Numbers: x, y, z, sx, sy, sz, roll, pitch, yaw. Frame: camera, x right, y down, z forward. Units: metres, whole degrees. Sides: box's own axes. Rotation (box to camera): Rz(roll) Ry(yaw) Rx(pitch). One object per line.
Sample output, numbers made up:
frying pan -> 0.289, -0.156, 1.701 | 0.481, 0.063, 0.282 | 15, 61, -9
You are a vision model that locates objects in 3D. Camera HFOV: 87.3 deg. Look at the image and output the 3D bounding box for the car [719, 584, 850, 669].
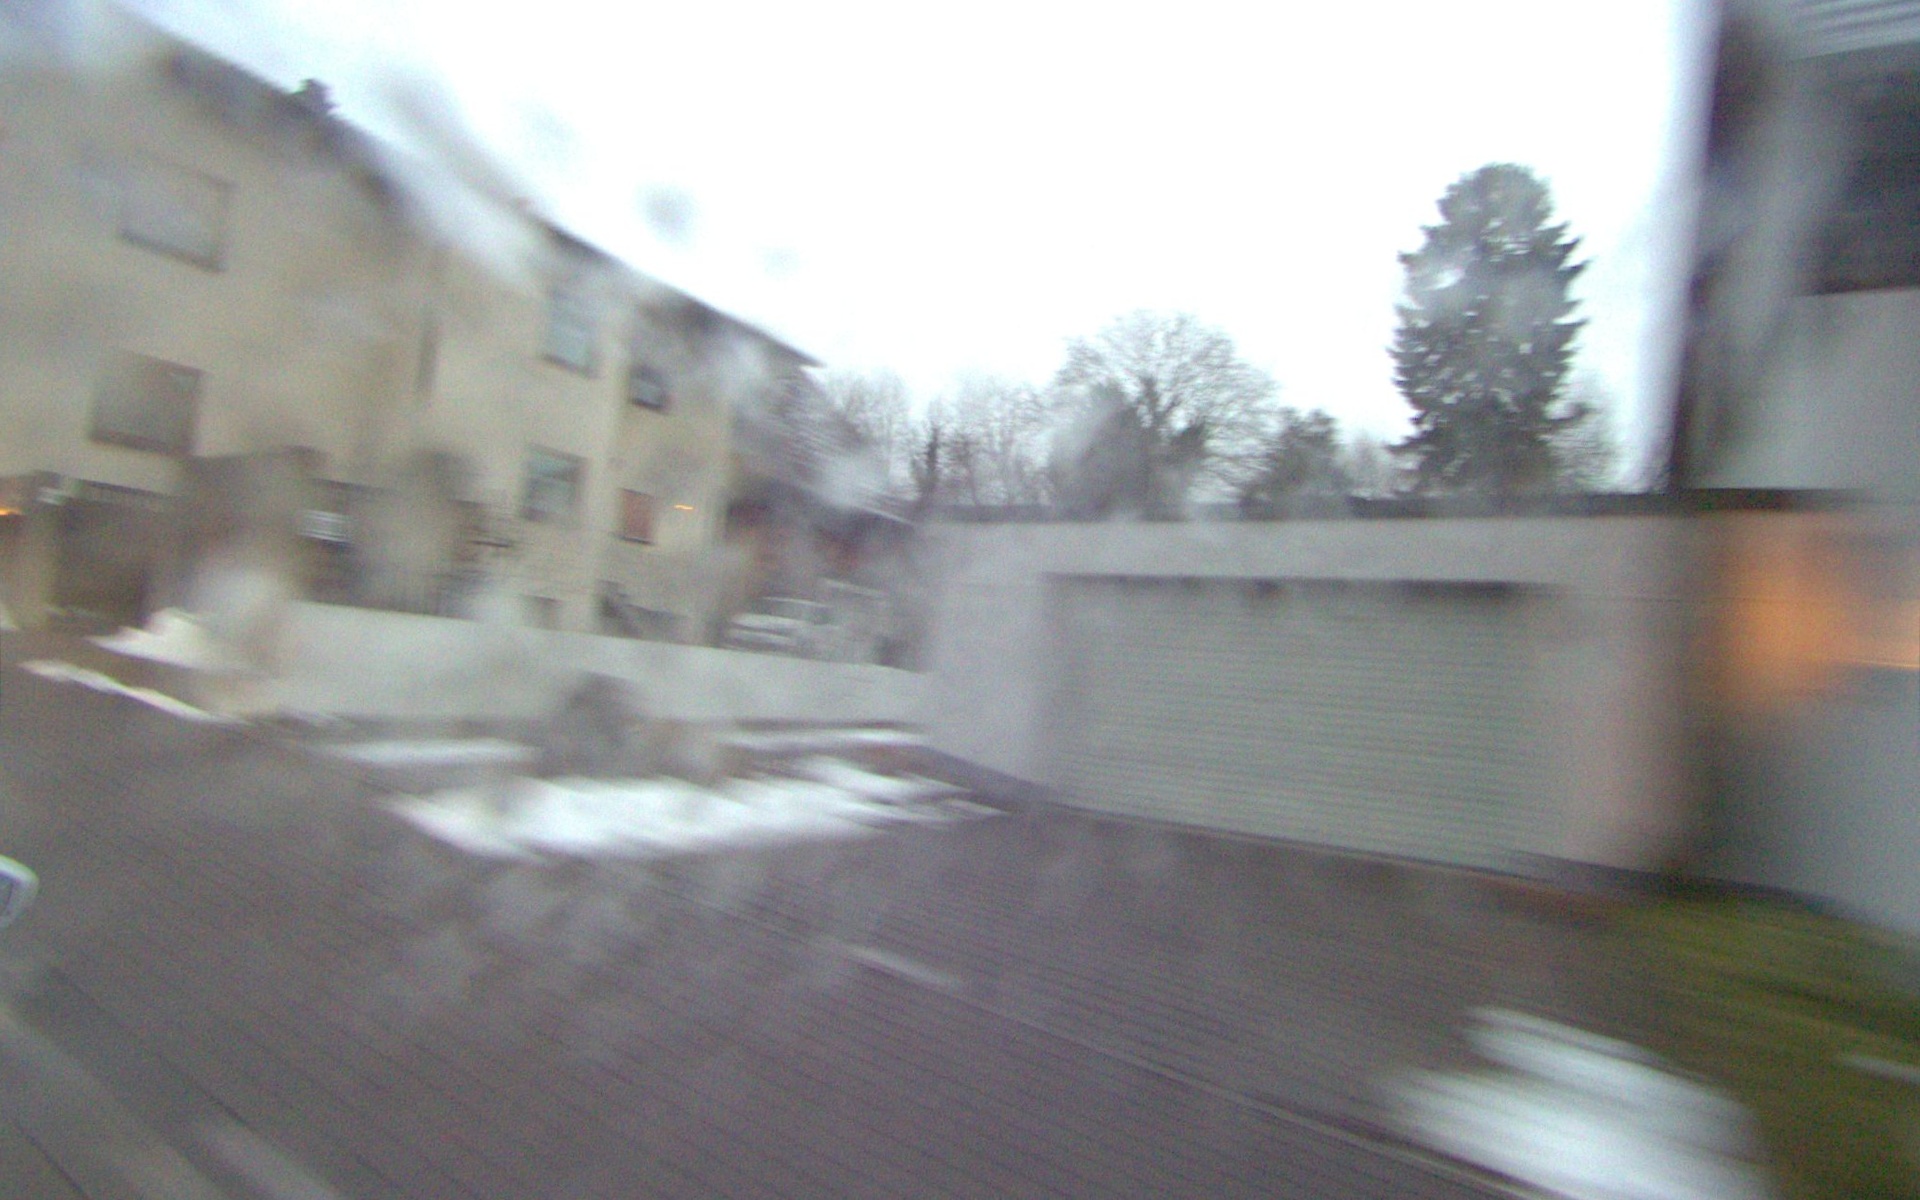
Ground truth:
car -> -3.712, 0.653, 22.005 | 1.703, 1.421, 4.008 | 7, -4, 5
